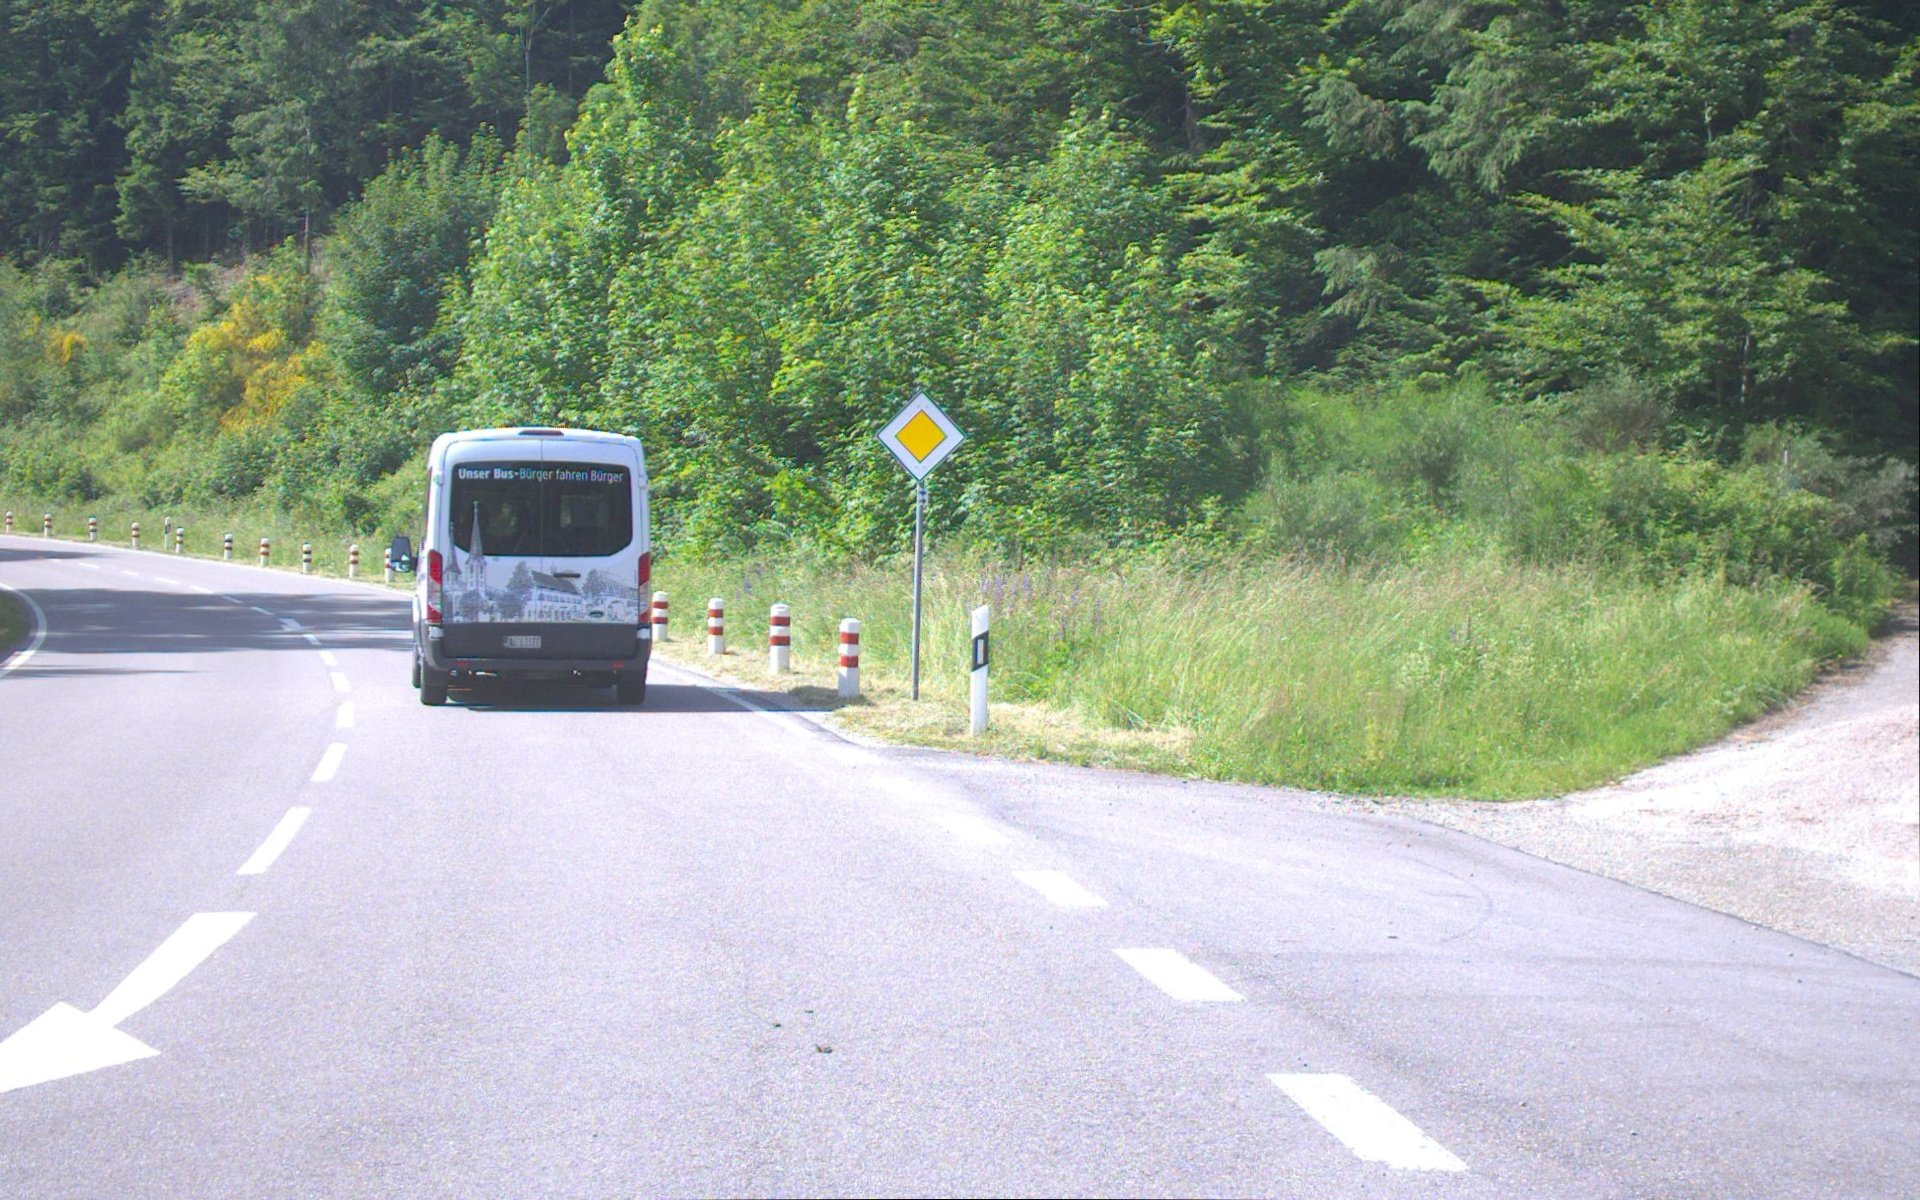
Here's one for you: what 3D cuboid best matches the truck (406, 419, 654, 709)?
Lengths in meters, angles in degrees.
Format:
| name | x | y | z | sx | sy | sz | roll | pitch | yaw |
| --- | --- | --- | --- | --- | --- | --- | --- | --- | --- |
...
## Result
| name | x | y | z | sx | sy | sz | roll | pitch | yaw |
| --- | --- | --- | --- | --- | --- | --- | --- | --- | --- |
| truck | -4.113 | -0.369 | 32.315 | 2.115 | 2.489 | 5.361 | 0 | 1 | -9 |
